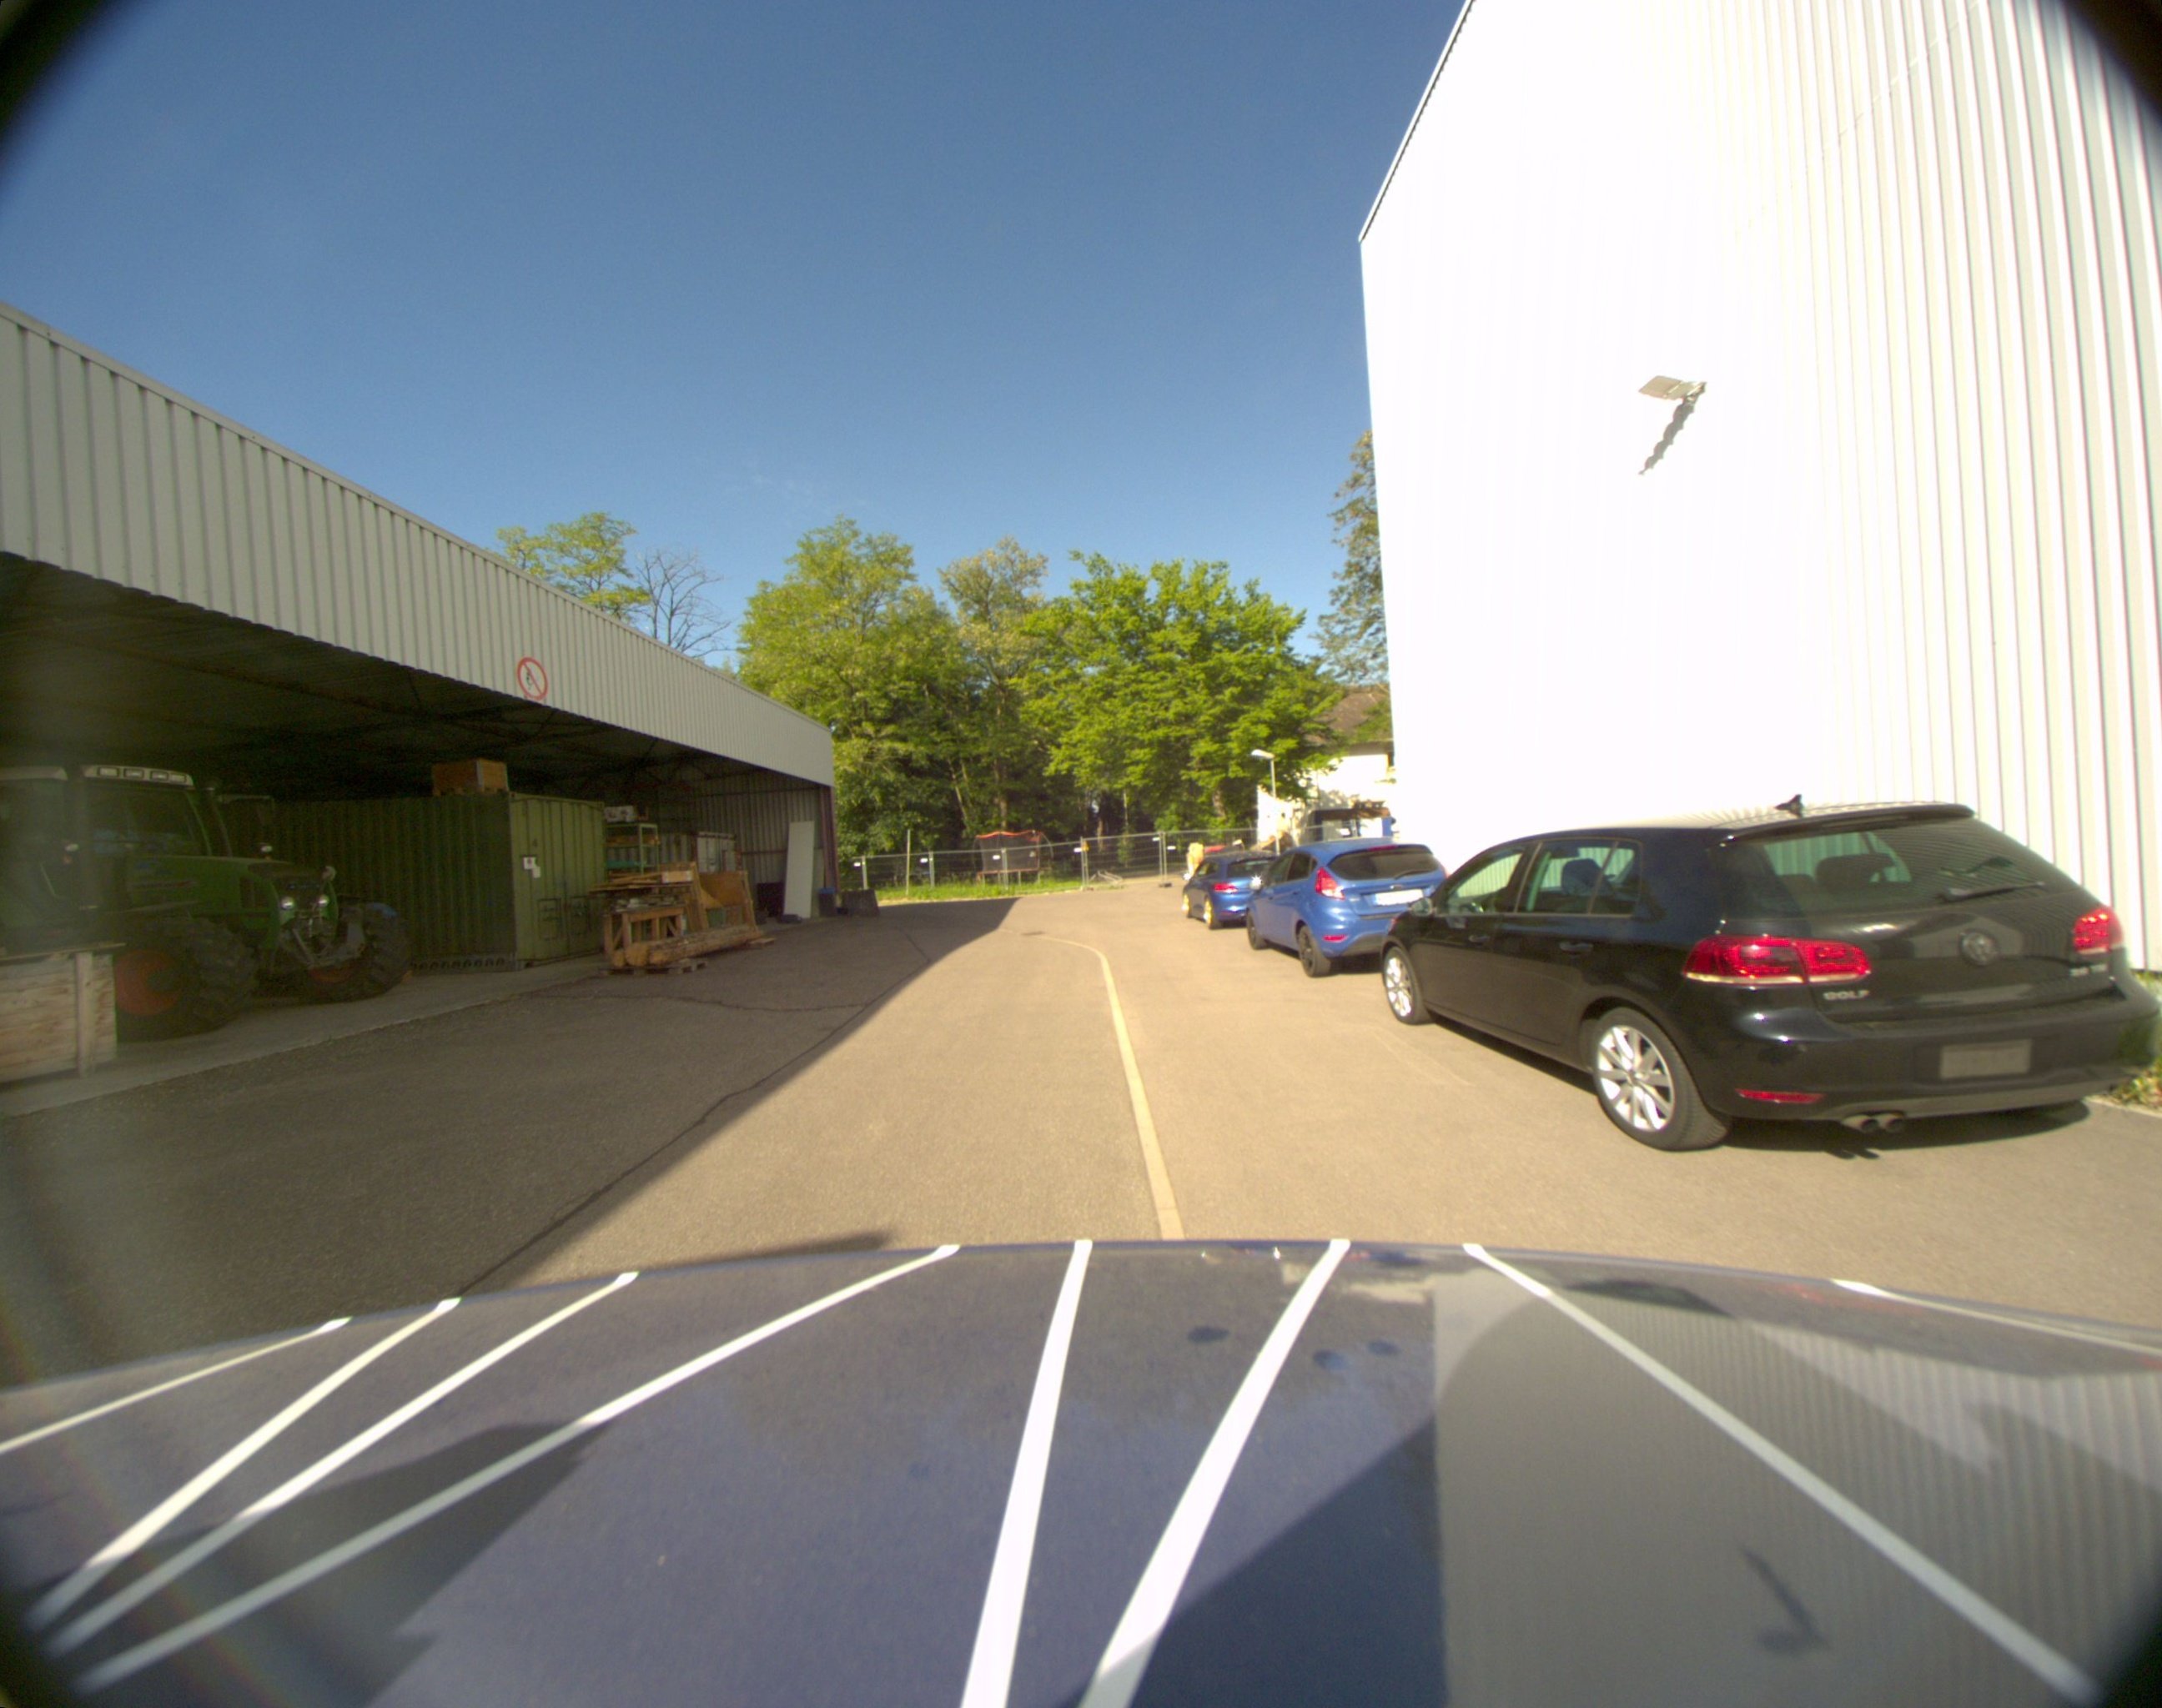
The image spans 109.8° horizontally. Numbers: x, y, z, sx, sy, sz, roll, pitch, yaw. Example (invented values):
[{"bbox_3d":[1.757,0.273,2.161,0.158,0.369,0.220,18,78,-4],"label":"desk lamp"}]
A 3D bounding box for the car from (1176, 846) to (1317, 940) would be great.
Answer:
[{"bbox_3d":[3.058,0.681,14.867,1.716,1.440,3.798,-5,0,-2],"label":"car"}]

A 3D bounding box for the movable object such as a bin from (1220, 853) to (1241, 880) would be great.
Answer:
[{"bbox_3d":[5.790,0.470,29.434,0.688,1.017,0.707,-2,0,6],"label":"movable object such as a bin"}]

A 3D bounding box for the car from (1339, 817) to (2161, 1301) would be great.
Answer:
[{"bbox_3d":[3.249,0.679,4.663,1.761,1.437,4.315,-6,0,0],"label":"car"}]

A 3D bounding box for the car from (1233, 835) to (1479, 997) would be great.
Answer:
[{"bbox_3d":[3.108,0.636,9.356,1.552,1.479,3.522,-5,0,-2],"label":"car"}]

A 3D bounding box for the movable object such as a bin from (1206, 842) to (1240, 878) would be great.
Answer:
[{"bbox_3d":[5.956,0.253,31.978,1.141,1.469,1.280,-2,-1,1],"label":"movable object such as a bin"}]

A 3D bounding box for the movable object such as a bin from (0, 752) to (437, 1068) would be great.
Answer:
[{"bbox_3d":[-11.497,0.641,8.608,5.848,2.908,2.820,-3,0,1],"label":"movable object such as a bin"}]

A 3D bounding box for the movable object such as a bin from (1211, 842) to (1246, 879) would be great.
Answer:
[{"bbox_3d":[5.939,0.252,30.615,1.141,1.426,1.289,-2,0,1],"label":"movable object such as a bin"}]
